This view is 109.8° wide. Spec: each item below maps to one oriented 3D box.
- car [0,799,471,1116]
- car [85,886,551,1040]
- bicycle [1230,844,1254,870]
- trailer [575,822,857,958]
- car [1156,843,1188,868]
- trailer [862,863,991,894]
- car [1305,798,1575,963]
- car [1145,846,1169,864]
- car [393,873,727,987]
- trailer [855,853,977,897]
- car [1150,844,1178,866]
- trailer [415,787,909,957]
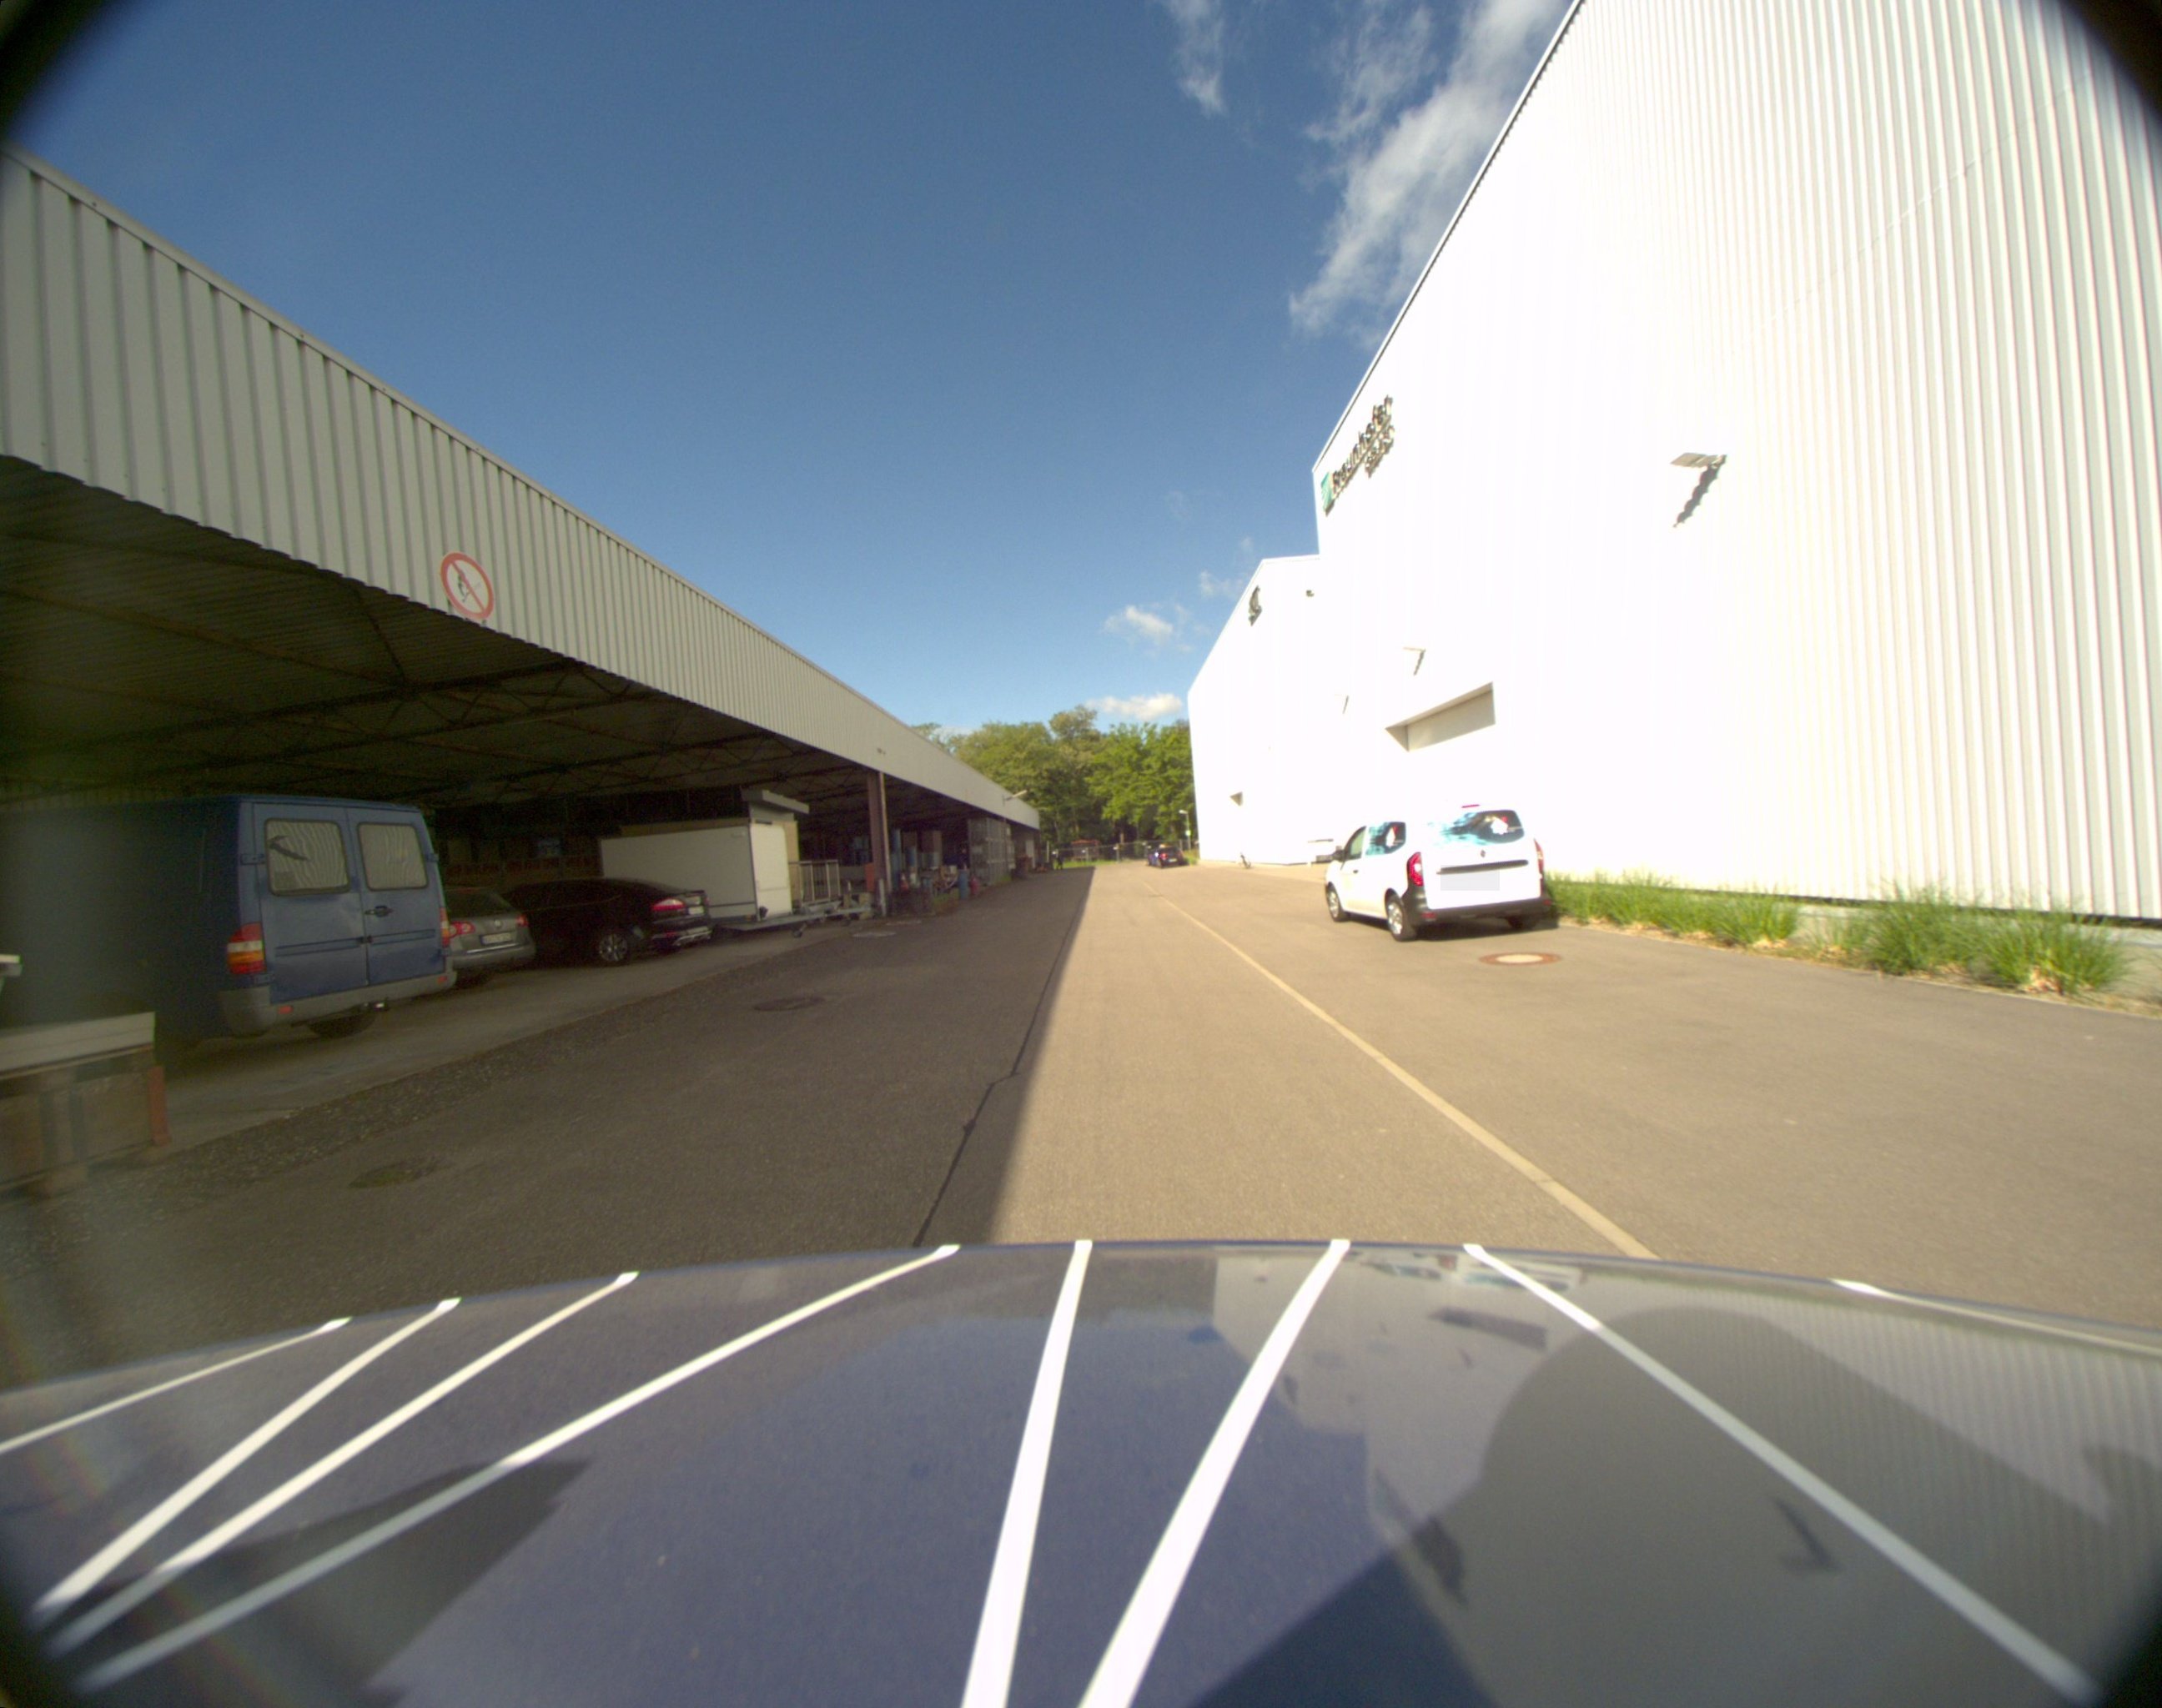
[{"bbox_3d":[-8.850,0.887,6.839,4.991,2.312,2.000,-4,1,2],"label":"car"},{"bbox_3d":[-9.560,1.310,9.827,3.998,1.464,1.787,-3,1,-3],"label":"car"},{"bbox_3d":[8.106,0.151,38.168,0.909,1.136,1.901,-7,1,17],"label":"bicycle"},{"bbox_3d":[-7.346,0.699,15.541,4.822,2.377,1.827,-3,1,6],"label":"trailer"},{"bbox_3d":[6.450,0.061,54.131,1.895,1.513,4.000,-7,0,3],"label":"car"},{"bbox_3d":[-7.461,1.167,37.195,5.837,1.113,2.029,-3,0,0],"label":"trailer"},{"bbox_3d":[5.030,0.306,11.462,1.895,1.835,4.358,-6,0,1],"label":"car"},{"bbox_3d":[6.483,0.056,64.886,1.789,1.432,4.000,-3,1,3],"label":"car"},{"bbox_3d":[-8.671,1.227,12.938,4.340,1.487,1.777,-3,1,-1],"label":"car"},{"bbox_3d":[-7.275,0.911,33.838,4.879,1.619,2.029,-3,1,0],"label":"trailer"},{"bbox_3d":[6.451,0.051,59.384,1.789,1.513,4.000,-7,0,3],"label":"car"},{"bbox_3d":[-9.563,0.402,18.129,10.062,3.197,2.854,-3,1,1],"label":"trailer"}]
